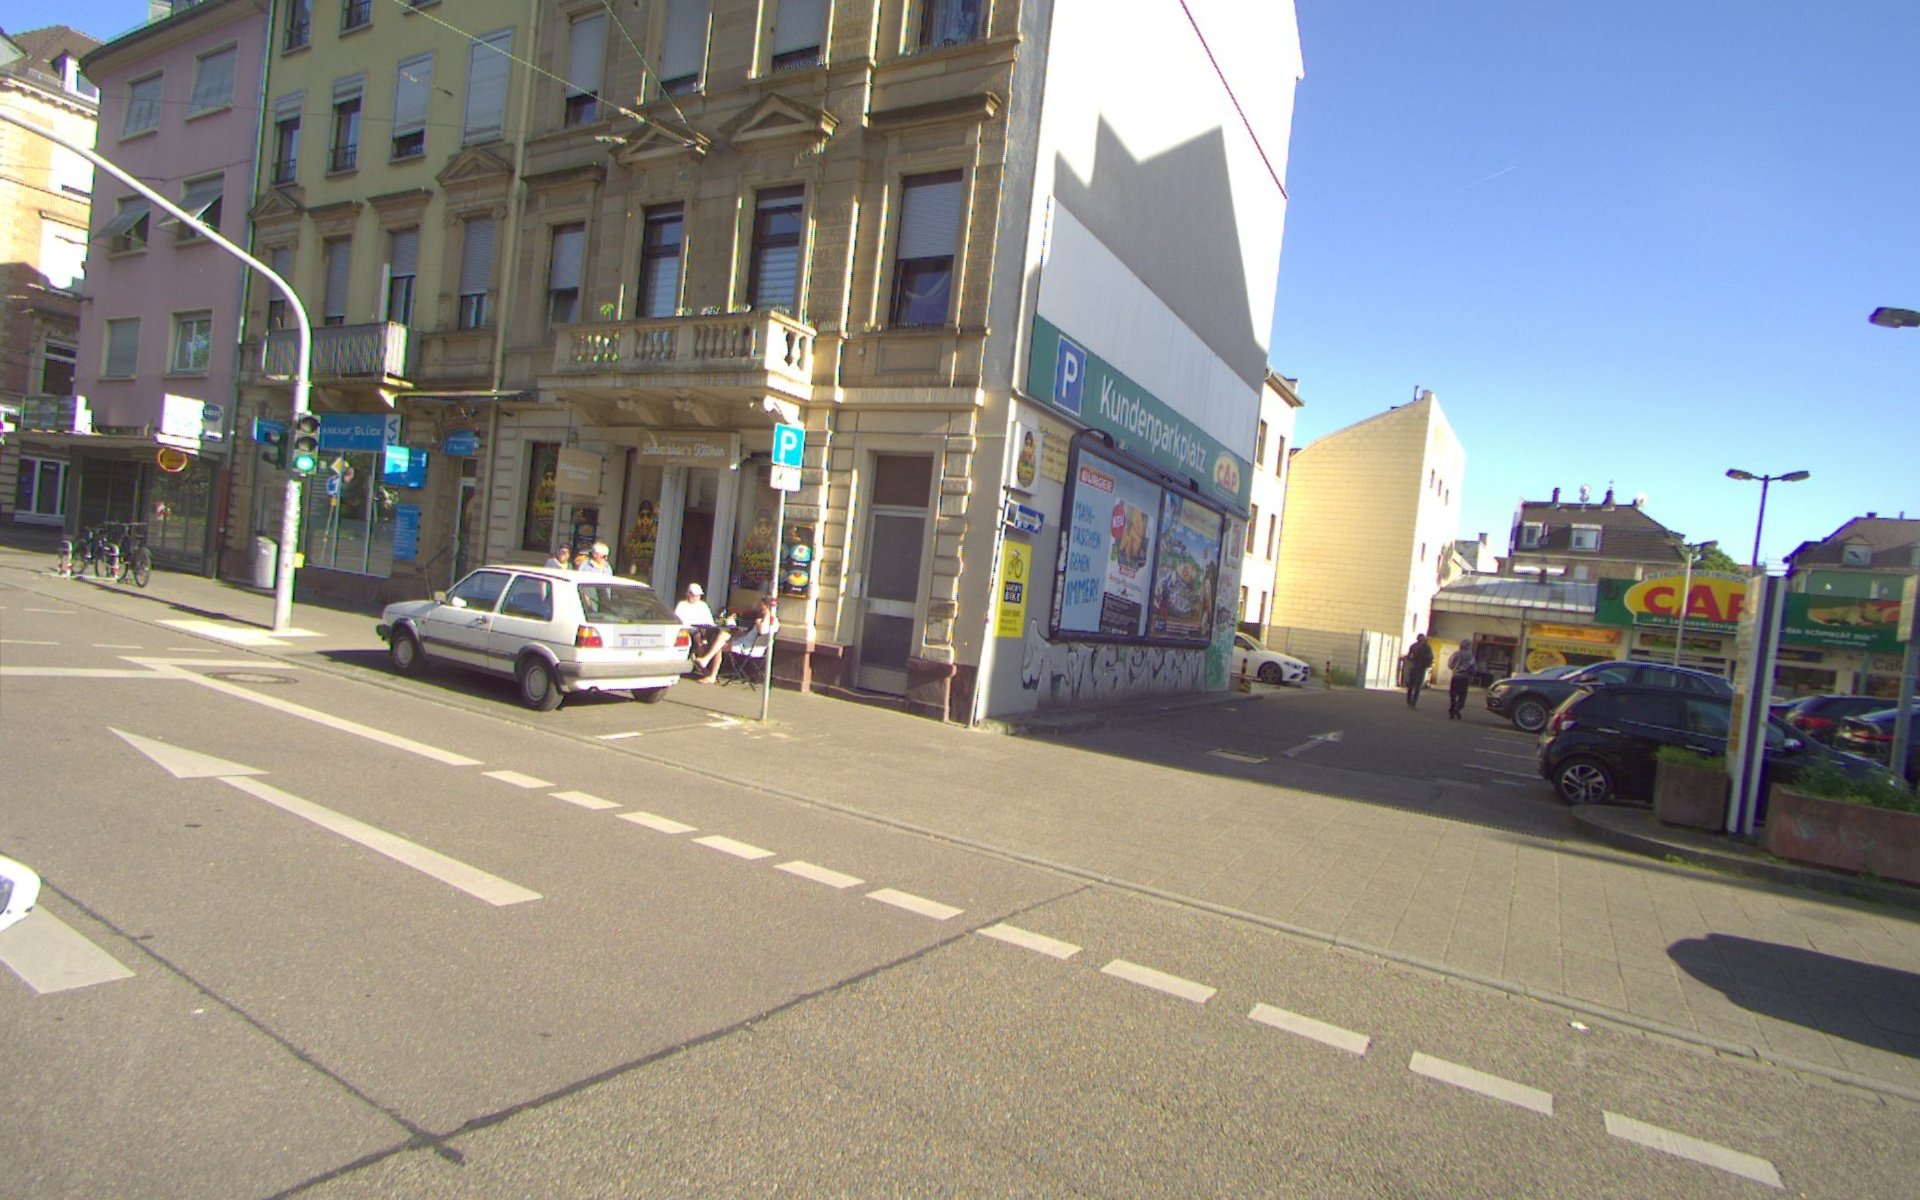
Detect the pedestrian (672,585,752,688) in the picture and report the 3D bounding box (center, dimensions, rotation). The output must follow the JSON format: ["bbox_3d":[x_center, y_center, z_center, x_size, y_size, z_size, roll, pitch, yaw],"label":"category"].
[{"bbox_3d":[-3.367,0.483,13.687,0.598,1.299,0.797,7,3,29],"label":"pedestrian"}]

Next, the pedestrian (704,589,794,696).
[{"bbox_3d":[-2.793,0.551,13.369,0.644,1.299,0.902,7,3,26],"label":"pedestrian"}]

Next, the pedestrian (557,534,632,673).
[{"bbox_3d":[-5.027,0.050,13.854,0.522,1.831,0.673,7,3,31],"label":"pedestrian"}]

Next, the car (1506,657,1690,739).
[{"bbox_3d":[17.039,2.575,27.071,3.933,1.538,1.723,7,1,31],"label":"car"}]

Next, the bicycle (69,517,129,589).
[{"bbox_3d":[-15.808,-0.882,18.448,1.782,1.155,0.414,7,0,38],"label":"bicycle"}]

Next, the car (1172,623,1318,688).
[{"bbox_3d":[8.820,1.700,31.208,3.933,1.482,1.756,7,0,32],"label":"car"}]

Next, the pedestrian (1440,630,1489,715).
[{"bbox_3d":[11.108,1.590,22.150,0.750,1.777,0.512,7,1,33],"label":"pedestrian"}]

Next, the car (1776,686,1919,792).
[{"bbox_3d":[17.177,2.596,17.832,3.872,1.564,1.543,7,1,31],"label":"car"}]

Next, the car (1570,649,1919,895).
[{"bbox_3d":[7.765,1.502,8.868,3.835,1.667,1.651,6,2,28],"label":"car"}]

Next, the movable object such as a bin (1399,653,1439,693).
[{"bbox_3d":[19.437,3.086,42.598,1.258,1.526,1.174,7,1,31],"label":"movable object such as a bin"}]

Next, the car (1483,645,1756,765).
[{"bbox_3d":[13.188,2.045,20.430,4.309,1.687,1.756,7,1,32],"label":"car"}]

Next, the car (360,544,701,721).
[{"bbox_3d":[-4.976,0.272,11.485,3.937,1.435,1.562,7,4,32],"label":"car"}]

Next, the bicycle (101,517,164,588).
[{"bbox_3d":[-15.539,-0.905,18.872,1.731,1.173,0.448,7,1,38],"label":"bicycle"}]

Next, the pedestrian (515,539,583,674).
[{"bbox_3d":[-5.446,0.094,13.341,0.382,1.729,0.550,7,1,34],"label":"pedestrian"}]

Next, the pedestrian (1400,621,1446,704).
[{"bbox_3d":[10.996,1.477,23.885,0.749,1.864,0.747,7,1,29],"label":"pedestrian"}]

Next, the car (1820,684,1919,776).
[{"bbox_3d":[19.746,2.743,19.823,3.872,1.601,1.658,7,1,31],"label":"car"}]

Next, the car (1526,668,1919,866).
[{"bbox_3d":[8.449,1.752,11.407,3.336,1.504,1.561,7,0,28],"label":"car"}]
